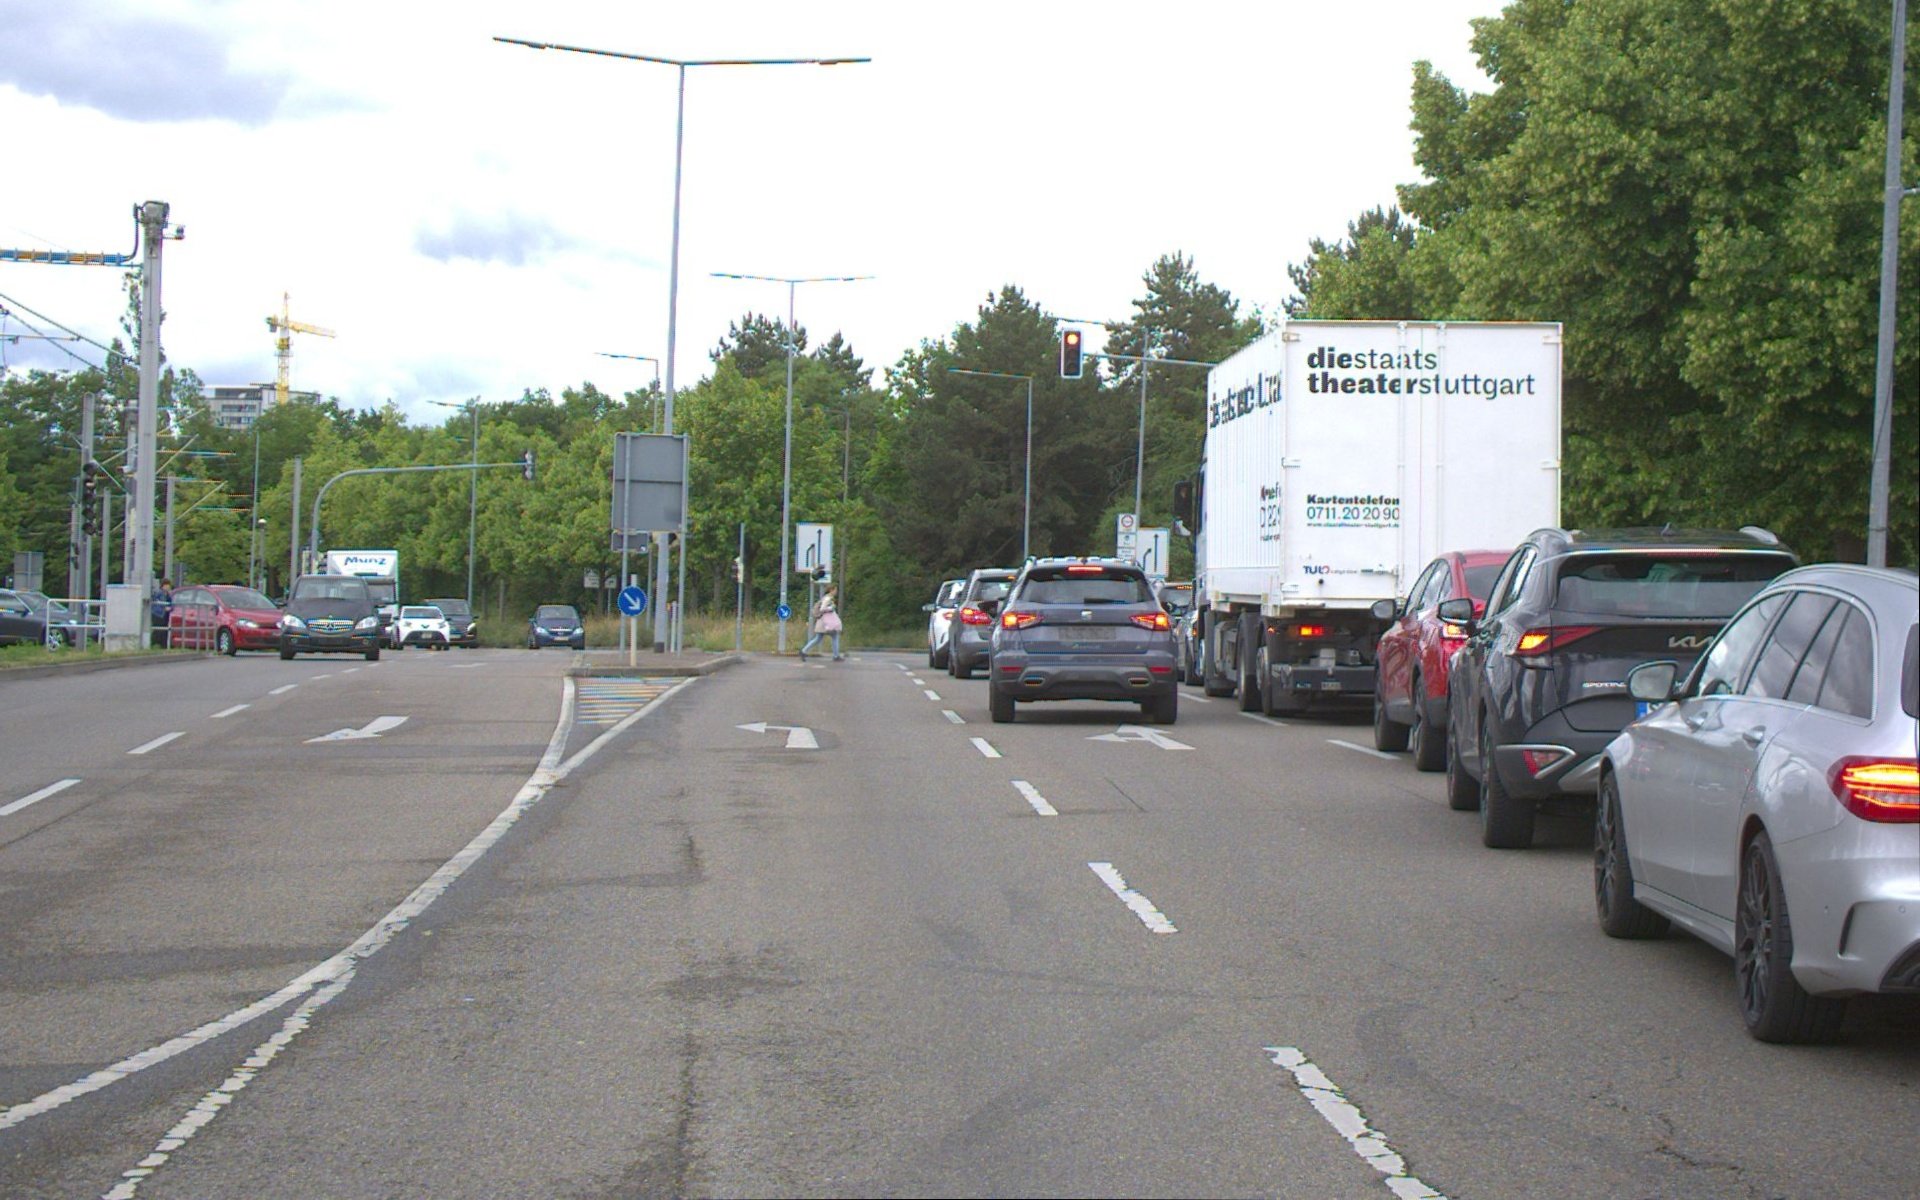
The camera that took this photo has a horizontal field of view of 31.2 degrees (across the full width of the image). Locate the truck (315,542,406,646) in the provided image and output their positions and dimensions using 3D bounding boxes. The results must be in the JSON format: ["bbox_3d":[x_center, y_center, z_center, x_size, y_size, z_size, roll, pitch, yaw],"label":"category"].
[{"bbox_3d":[-22.341,-0.279,127.794,2.659,3.636,9.506,0,1,-14],"label":"truck"}]

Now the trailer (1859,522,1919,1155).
[{"bbox_3d":[3.087,0.621,7.593,1.409,1.588,3.303,1,1,2],"label":"trailer"}]

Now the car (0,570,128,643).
[{"bbox_3d":[-21.445,0.128,79.174,3.988,1.590,2.000,1,1,7],"label":"car"}]

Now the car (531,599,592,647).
[{"bbox_3d":[-14.046,0.800,121.013,1.915,1.571,4.001,0,1,-9],"label":"car"}]

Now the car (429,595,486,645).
[{"bbox_3d":[-18.610,0.743,127.198,1.915,1.722,4.001,0,1,-11],"label":"car"}]

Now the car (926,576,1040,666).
[{"bbox_3d":[0.349,0.349,57.135,1.721,1.417,4.357,0,0,-2],"label":"car"}]

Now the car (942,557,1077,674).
[{"bbox_3d":[0.666,0.179,48.239,1.799,1.518,4.187,1,1,0],"label":"car"}]

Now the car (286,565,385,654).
[{"bbox_3d":[-11.505,0.183,63.189,1.725,1.568,3.708,0,0,-11],"label":"car"}]

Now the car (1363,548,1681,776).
[{"bbox_3d":[4.019,0.400,25.204,1.707,1.519,4.319,1,0,1],"label":"car"}]

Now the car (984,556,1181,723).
[{"bbox_3d":[1.112,0.351,32.761,1.698,1.481,4.000,0,0,0],"label":"car"}]

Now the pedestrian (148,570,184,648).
[{"bbox_3d":[-15.980,0.178,69.199,0.353,1.551,0.652,2,3,32],"label":"pedestrian"}]

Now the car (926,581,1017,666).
[{"bbox_3d":[0.189,0.434,62.278,1.535,1.499,2.670,0,-1,-2],"label":"car"}]

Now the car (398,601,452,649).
[{"bbox_3d":[-18.081,0.847,116.139,1.775,1.503,3.748,0,1,-9],"label":"car"}]

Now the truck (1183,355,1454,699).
[{"bbox_3d":[4.007,-0.812,39.156,2.571,3.693,4.106,0,0,-1],"label":"truck"}]

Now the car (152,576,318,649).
[{"bbox_3d":[-15.978,0.253,75.672,1.703,1.483,4.084,0,2,-43],"label":"car"}]

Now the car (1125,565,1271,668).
[{"bbox_3d":[3.545,0.218,51.915,1.825,1.430,4.213,1,1,-1],"label":"car"}]

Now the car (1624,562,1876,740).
[{"bbox_3d":[7.644,0.460,33.500,1.570,1.565,3.060,2,1,-3],"label":"car"}]

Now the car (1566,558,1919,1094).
[{"bbox_3d":[3.201,0.591,11.497,1.671,1.442,4.489,1,1,2],"label":"car"}]

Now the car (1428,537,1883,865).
[{"bbox_3d":[3.603,0.445,18.557,1.845,1.556,4.404,0,1,4],"label":"car"}]

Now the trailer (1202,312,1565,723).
[{"bbox_3d":[4.102,-0.781,34.958,2.565,3.693,7.764,0,1,-1],"label":"trailer"}]

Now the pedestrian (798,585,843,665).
[{"bbox_3d":[-2.782,0.495,68.484,0.863,1.555,0.518,0,2,-3],"label":"pedestrian"}]
